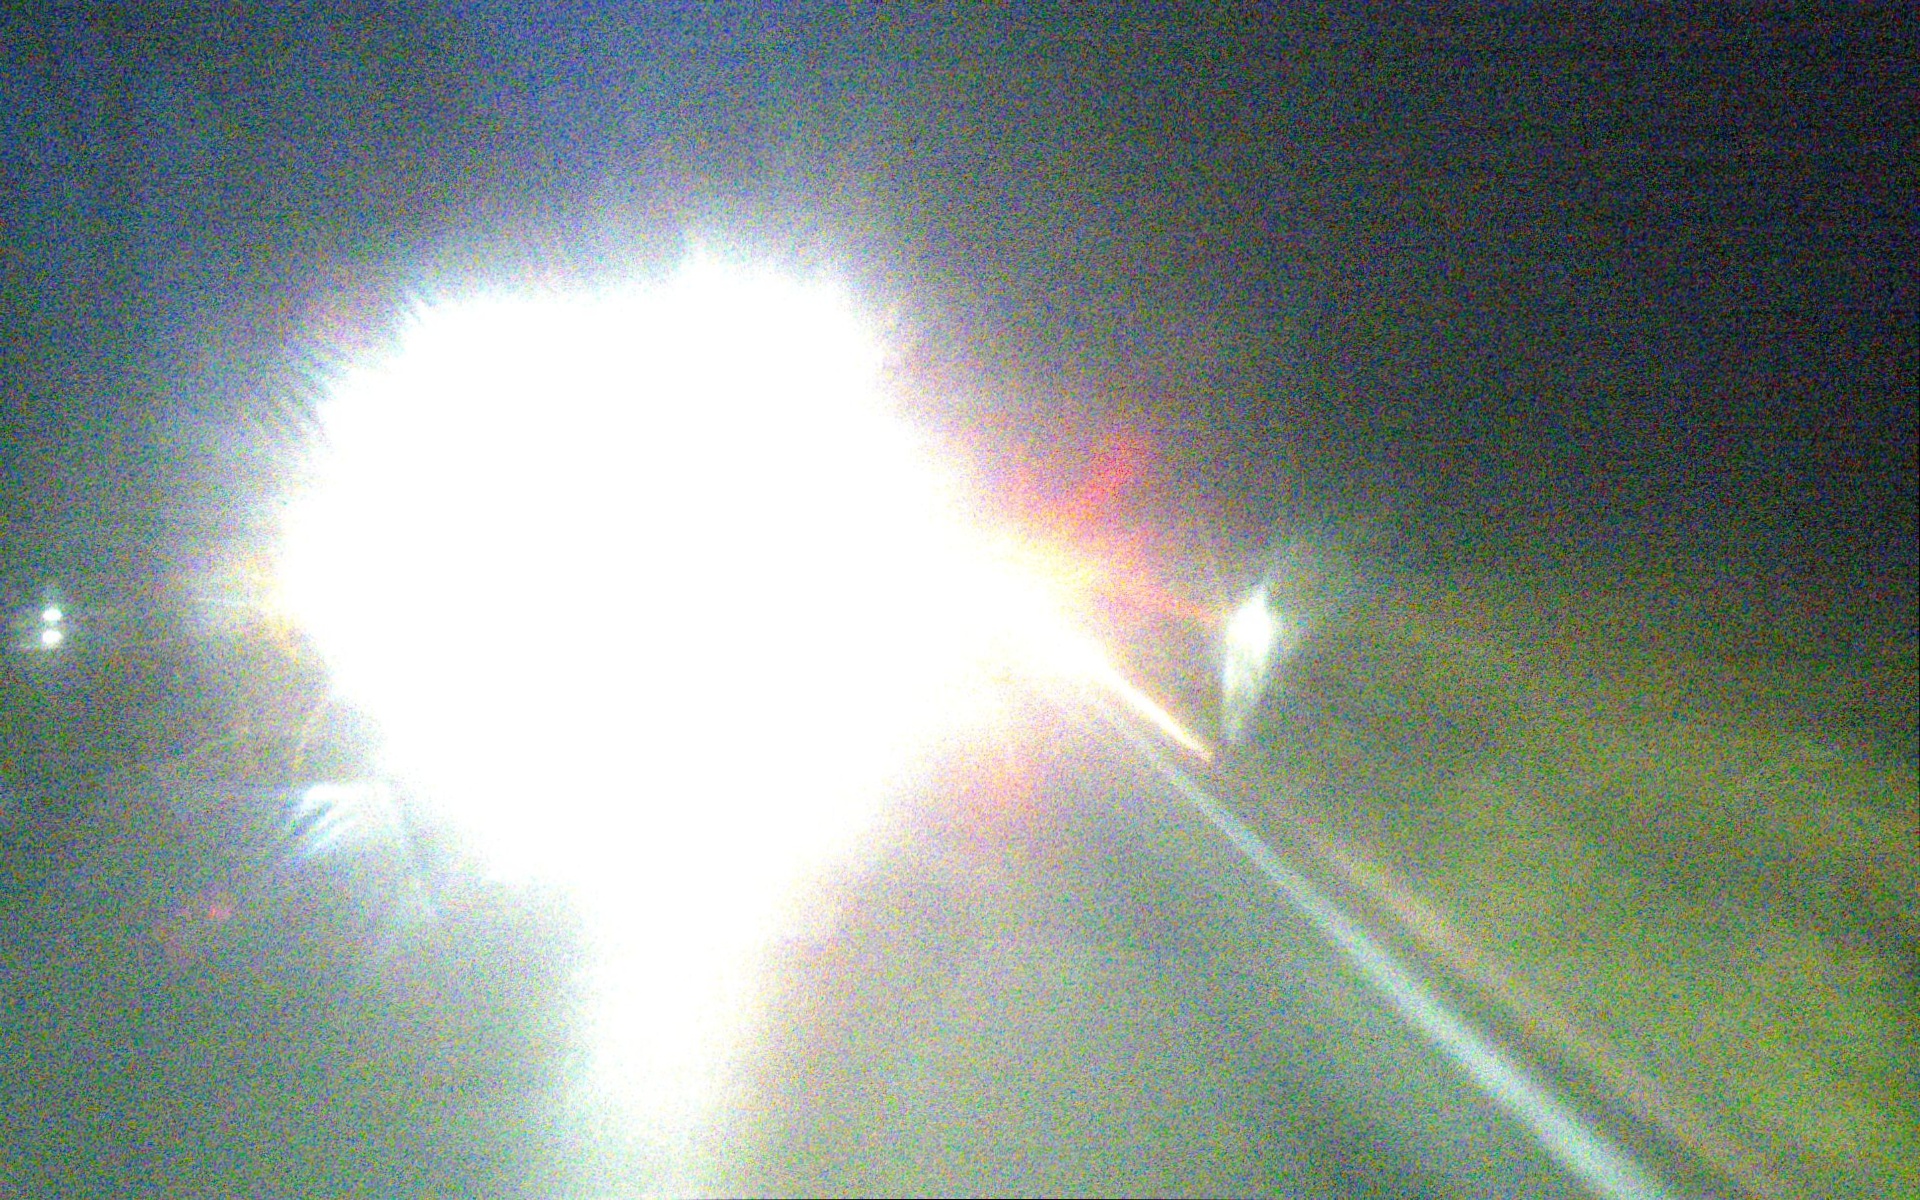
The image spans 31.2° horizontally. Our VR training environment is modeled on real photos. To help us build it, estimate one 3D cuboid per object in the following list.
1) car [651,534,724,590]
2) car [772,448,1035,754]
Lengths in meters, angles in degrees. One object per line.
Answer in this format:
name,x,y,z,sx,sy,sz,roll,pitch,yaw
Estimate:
car,-7.525,-1.064,95.145,1.851,1.483,3.994,-1,1,-3
car,-0.503,-0.016,31.233,2.181,2.549,4.508,1,1,-1
